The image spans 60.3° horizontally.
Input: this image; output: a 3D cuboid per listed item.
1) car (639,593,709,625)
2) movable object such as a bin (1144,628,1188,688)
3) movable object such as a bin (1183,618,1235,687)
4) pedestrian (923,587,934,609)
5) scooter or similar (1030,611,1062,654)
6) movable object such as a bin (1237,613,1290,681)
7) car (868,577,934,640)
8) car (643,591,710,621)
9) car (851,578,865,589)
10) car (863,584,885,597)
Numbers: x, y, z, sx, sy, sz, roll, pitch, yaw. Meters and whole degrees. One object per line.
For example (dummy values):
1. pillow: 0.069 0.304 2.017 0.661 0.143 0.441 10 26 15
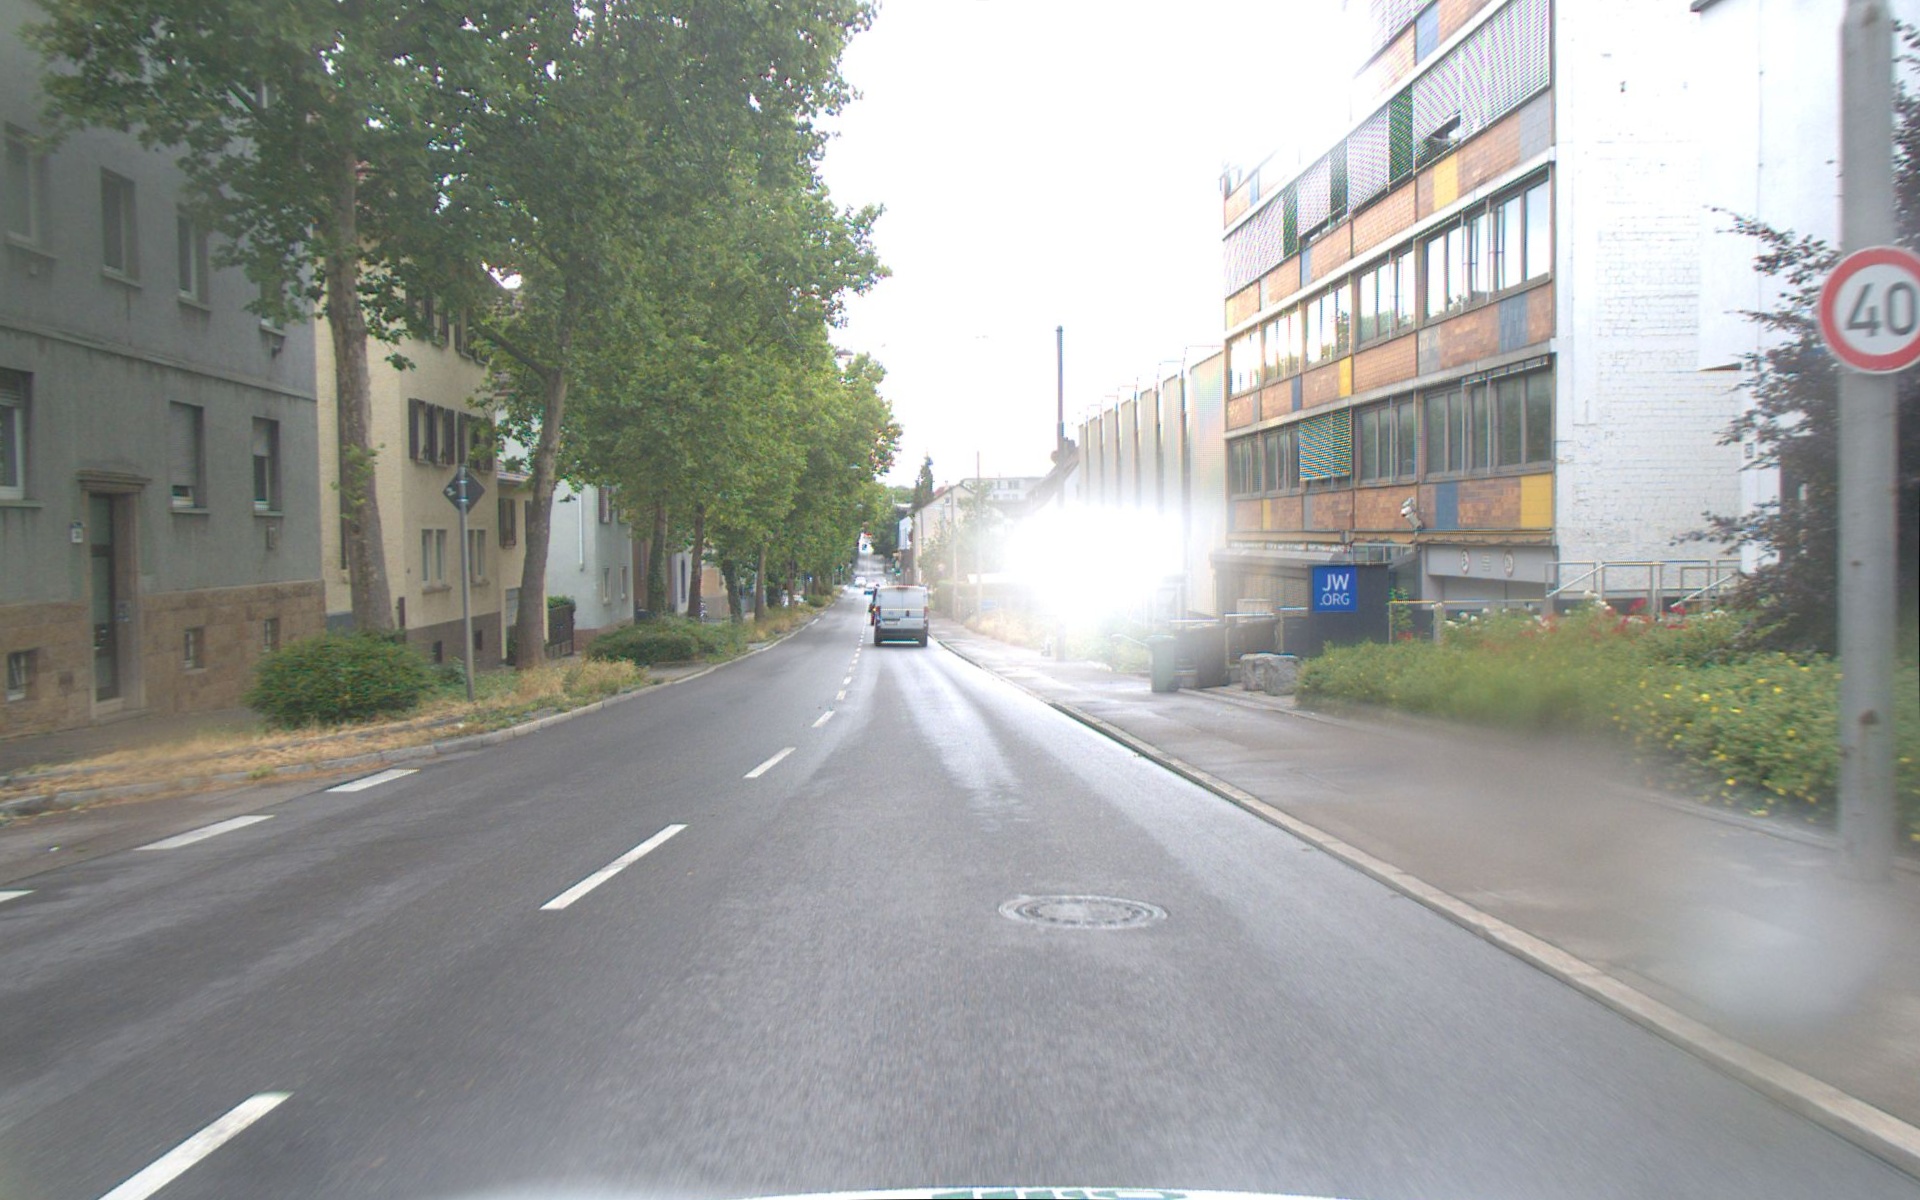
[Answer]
1. car: -18.017 0.540 104.376 4.114 1.925 1.998 -1 0 -4
2. movable object such as a bin: 3.503 0.981 28.148 0.607 0.953 0.686 -4 0 -2
3. movable object such as a bin: 4.263 0.894 28.344 0.681 1.101 0.778 -4 0 -2
4. pedestrian: -2.436 -0.134 128.885 0.800 1.728 0.728 0 0 -5
5. scooter or similar: 2.437 0.907 47.009 0.593 1.182 1.697 -1 0 -7
6. movable object such as a bin: 5.215 0.793 28.444 0.681 1.101 0.778 -4 0 -2
7. car: -2.352 0.287 64.248 2.301 2.197 4.774 -2 2 -5
8. car: -18.807 0.398 109.878 4.114 1.925 1.998 -1 0 -4
9. car: -15.807 -2.524 257.041 1.955 1.739 4.254 0 0 -6
10. car: -11.250 -1.262 216.013 1.951 1.604 4.004 0 1 12
